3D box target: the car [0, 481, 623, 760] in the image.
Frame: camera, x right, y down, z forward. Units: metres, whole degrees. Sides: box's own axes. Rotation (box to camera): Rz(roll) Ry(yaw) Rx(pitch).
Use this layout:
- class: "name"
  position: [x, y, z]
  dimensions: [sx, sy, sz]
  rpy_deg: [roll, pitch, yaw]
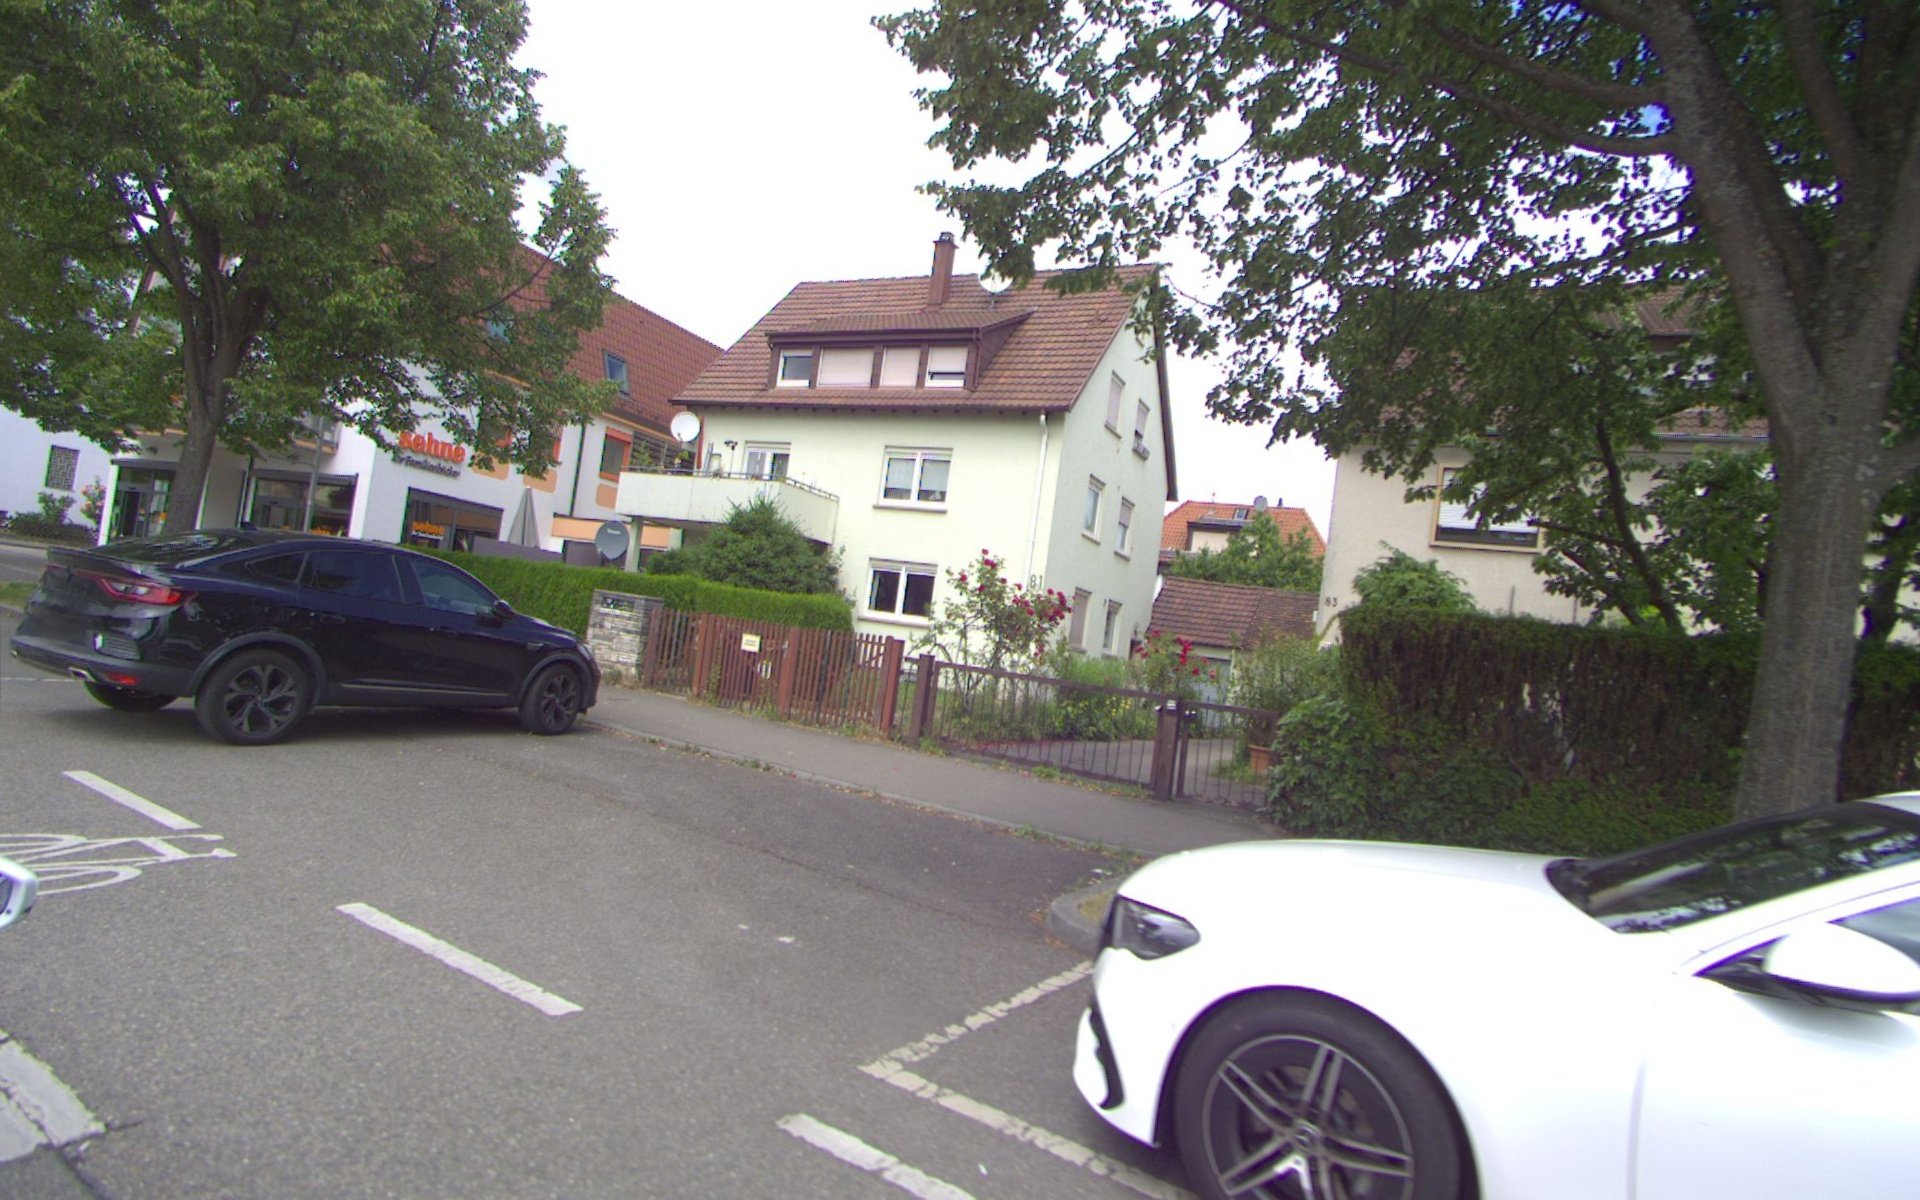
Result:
- class: "car"
  position: [-5.114, 0.255, 8.558]
  dimensions: [1.663, 1.657, 4.230]
  rpy_deg: [7, -1, 25]

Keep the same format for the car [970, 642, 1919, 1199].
- class: "car"
  position: [2.597, 1.195, 2.585]
  dimensions: [4.730, 1.491, 1.810]
  rpy_deg: [7, -2, 29]
